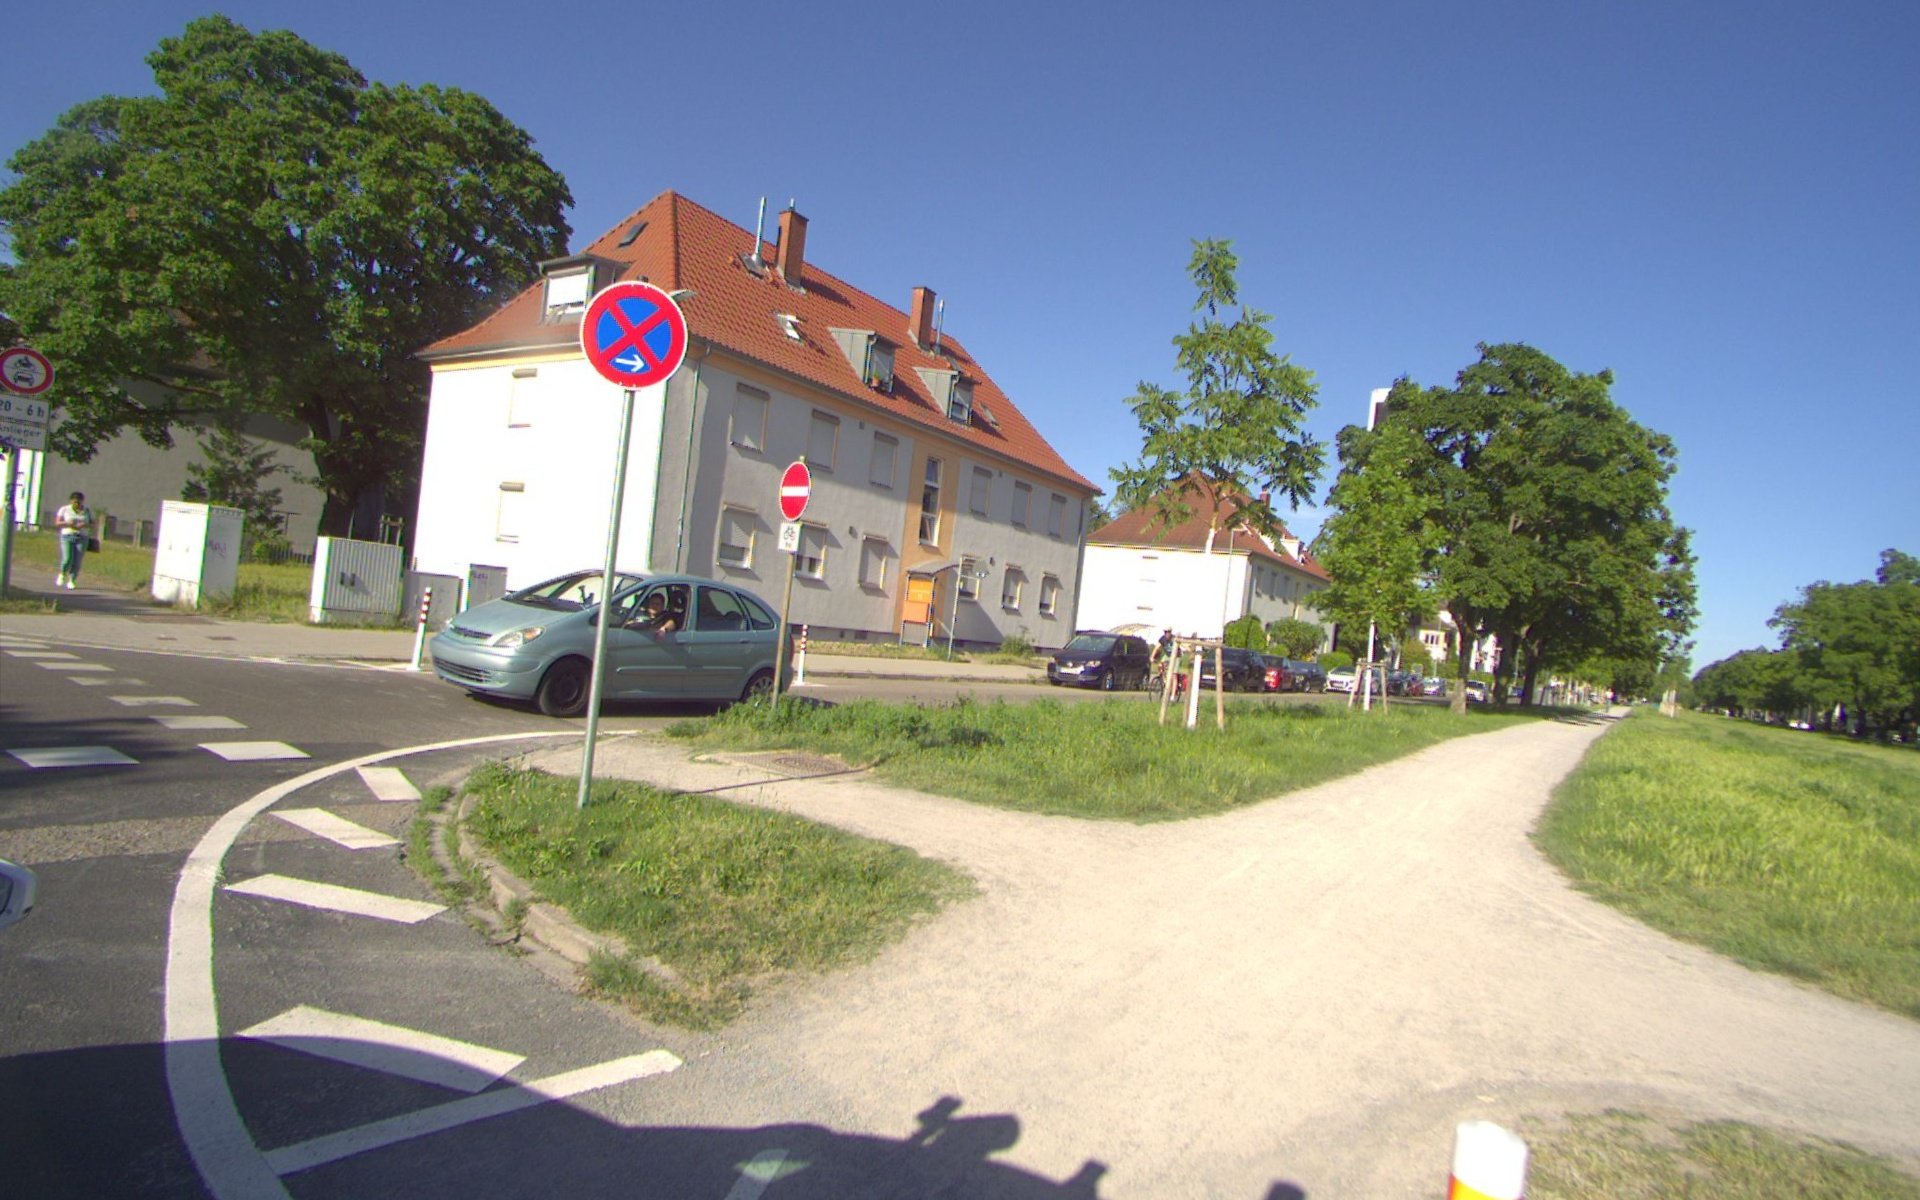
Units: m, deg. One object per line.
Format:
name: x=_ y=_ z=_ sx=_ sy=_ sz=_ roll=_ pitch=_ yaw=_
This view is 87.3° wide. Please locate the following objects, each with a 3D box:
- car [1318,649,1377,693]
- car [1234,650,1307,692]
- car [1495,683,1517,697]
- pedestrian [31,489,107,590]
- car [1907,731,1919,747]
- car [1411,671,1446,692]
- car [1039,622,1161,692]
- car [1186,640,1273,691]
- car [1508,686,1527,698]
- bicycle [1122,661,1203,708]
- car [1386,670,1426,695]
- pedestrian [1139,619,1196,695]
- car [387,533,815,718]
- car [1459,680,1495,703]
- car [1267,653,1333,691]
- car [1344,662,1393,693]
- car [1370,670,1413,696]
car: x=20.905 y=3.833 z=54.141 sx=1.842 sy=2.038 sz=4.244 roll=7 pitch=-1 yaw=35
car: x=13.208 y=3.038 z=42.650 sx=1.694 sy=1.459 sz=4.129 roll=7 pitch=0 yaw=35
car: x=62.040 y=10.269 z=114.322 sx=1.694 sy=1.358 sz=3.798 roll=7 pitch=-1 yaw=35
pedestrian: x=-15.518 y=-1.048 z=17.525 sx=0.822 sy=1.631 sz=0.765 roll=7 pitch=1 yaw=39
car: x=98.438 y=14.268 z=102.483 sx=2.049 sy=1.484 sz=4.713 roll=7 pitch=-1 yaw=36
car: x=35.950 y=6.255 z=77.214 sx=1.694 sy=1.358 sz=3.798 roll=7 pitch=-1 yaw=35
car: x=4.096 y=1.682 z=28.932 sx=1.694 sy=1.684 sz=4.053 roll=7 pitch=0 yaw=35
car: x=10.186 y=2.499 z=37.829 sx=1.694 sy=1.602 sz=4.129 roll=7 pitch=0 yaw=35
car: x=70.700 y=11.669 z=127.550 sx=1.694 sy=1.358 sz=3.798 roll=7 pitch=-1 yaw=35
bicycle: x=4.991 y=2.062 z=24.593 sx=1.036 sy=0.949 sz=2.759 roll=7 pitch=-1 yaw=30
car: x=30.005 y=5.557 z=67.601 sx=1.694 sy=1.358 sz=3.798 roll=7 pitch=-1 yaw=35
pedestrian: x=5.071 y=1.391 z=24.586 sx=1.036 sy=1.730 sz=0.692 roll=7 pitch=1 yaw=31
car: x=-3.889 y=0.368 z=11.595 sx=1.859 sy=1.628 sz=4.235 roll=7 pitch=0 yaw=35
car: x=36.891 y=6.544 z=71.702 sx=1.694 sy=1.358 sz=3.798 roll=7 pitch=-1 yaw=35
car: x=15.743 y=3.352 z=46.454 sx=1.694 sy=1.459 sz=4.129 roll=7 pitch=0 yaw=35
car: x=23.655 y=4.510 z=58.136 sx=1.694 sy=1.517 sz=3.798 roll=7 pitch=0 yaw=35
car: x=27.137 y=5.218 z=63.201 sx=1.694 sy=1.358 sz=3.798 roll=7 pitch=-1 yaw=35
